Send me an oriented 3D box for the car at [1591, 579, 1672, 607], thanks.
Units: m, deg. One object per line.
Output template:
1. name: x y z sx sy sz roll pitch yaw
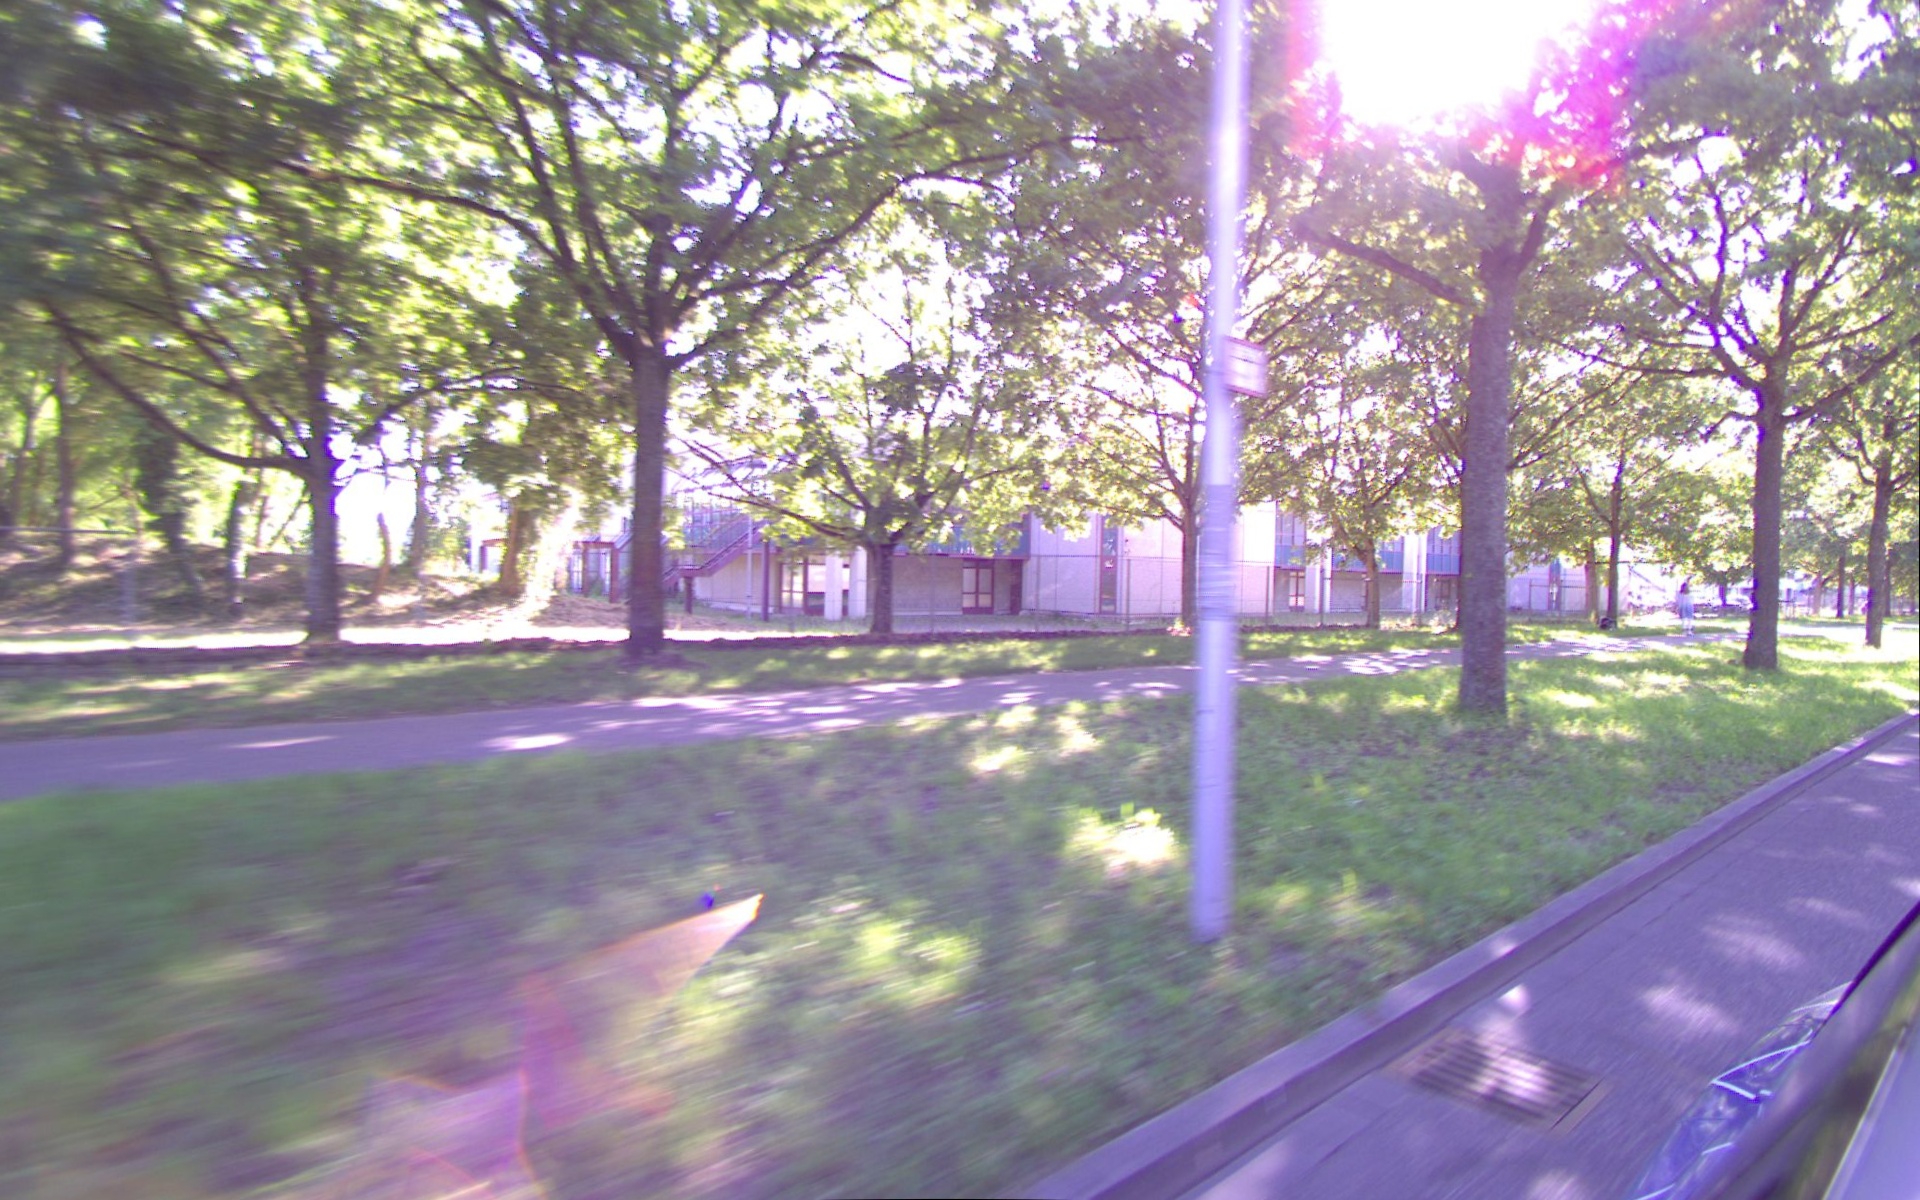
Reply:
1. car: 54.032 -0.596 81.505 1.862 1.983 5.073 0 3 -41

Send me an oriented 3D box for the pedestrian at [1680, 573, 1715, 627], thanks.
1. pedestrian: 23.292 -0.003 31.966 0.706 1.650 0.610 1 3 -38
